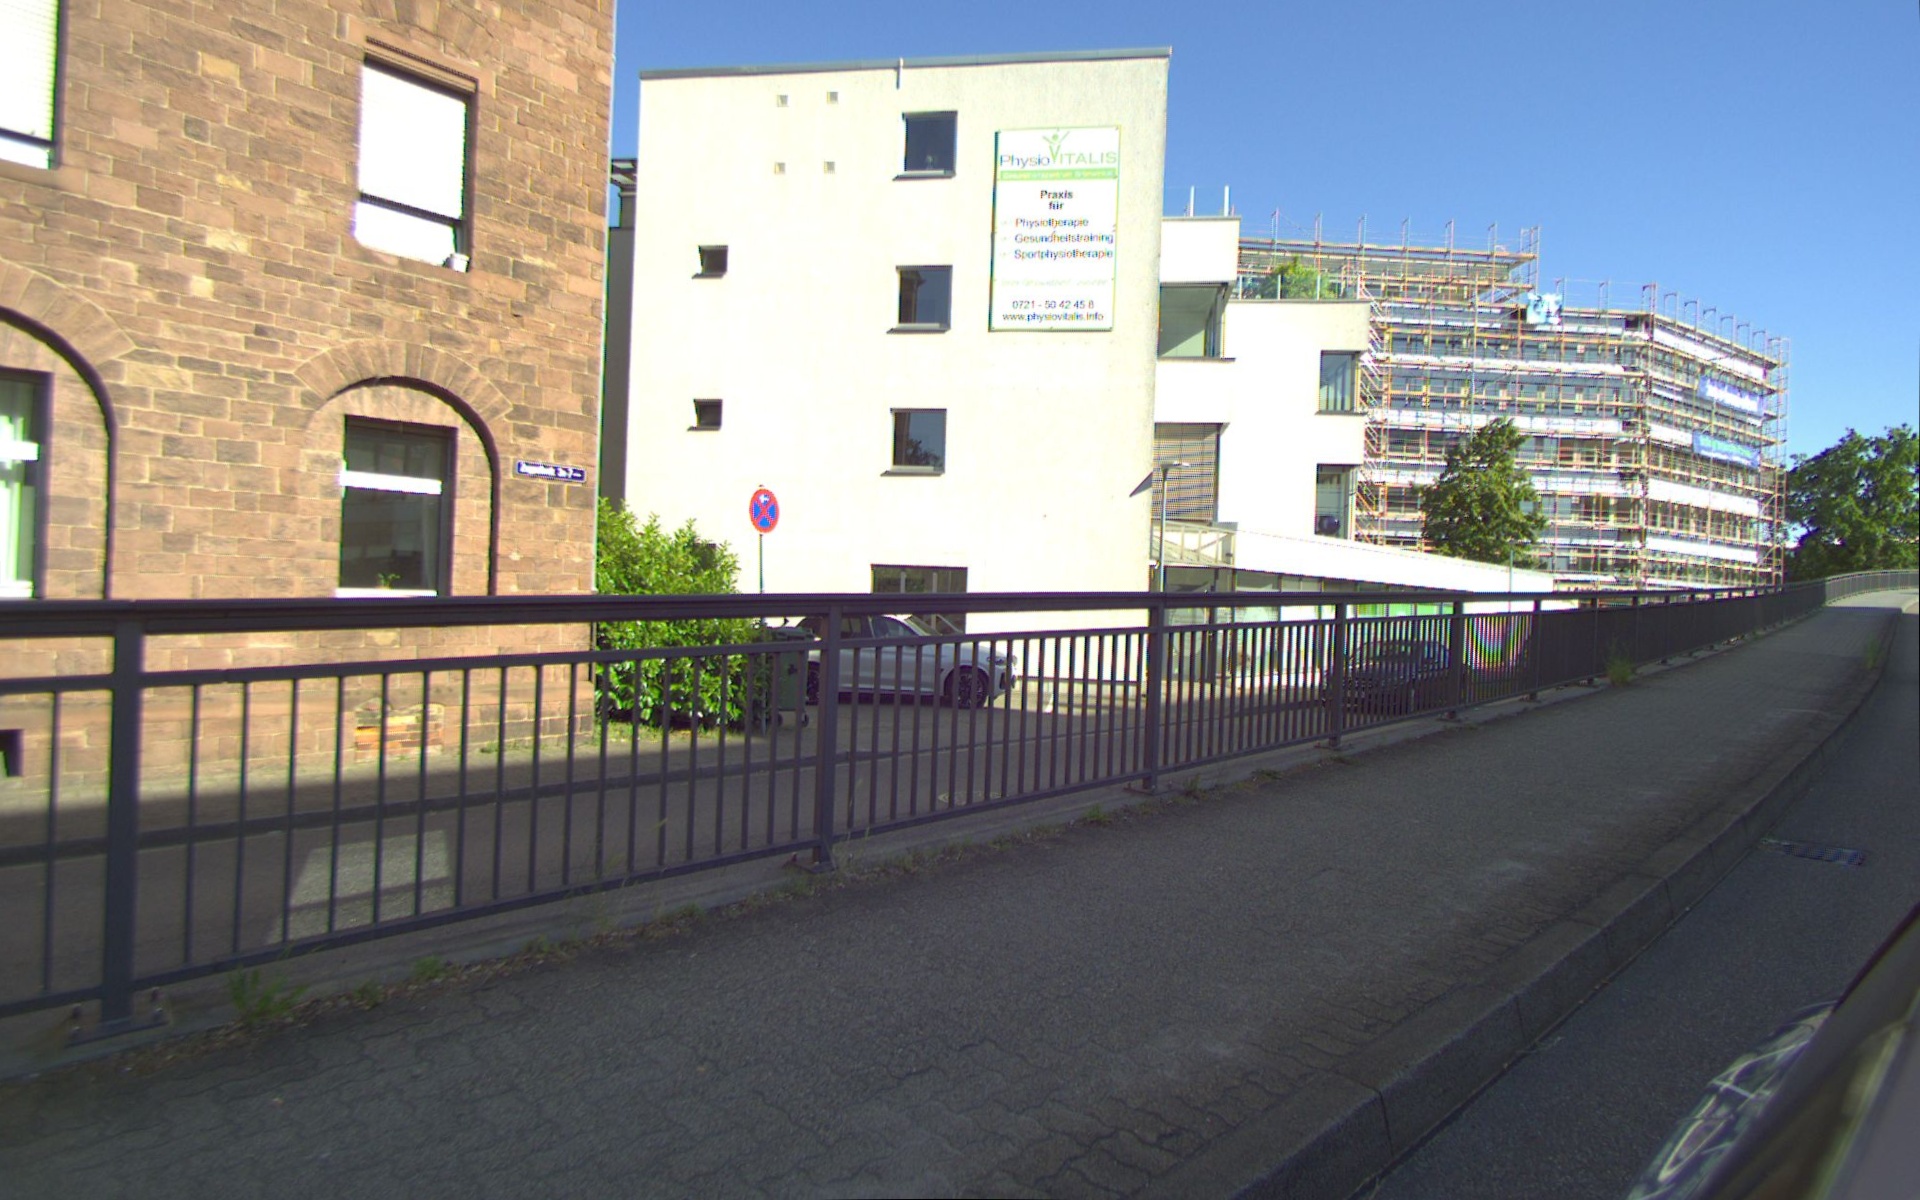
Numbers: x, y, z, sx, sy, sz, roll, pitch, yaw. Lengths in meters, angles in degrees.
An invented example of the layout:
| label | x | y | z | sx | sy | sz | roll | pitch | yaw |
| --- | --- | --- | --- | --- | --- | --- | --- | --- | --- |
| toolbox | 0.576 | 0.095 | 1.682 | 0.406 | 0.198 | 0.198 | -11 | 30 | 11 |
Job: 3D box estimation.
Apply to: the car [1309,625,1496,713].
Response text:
| label | x | y | z | sx | sy | sz | roll | pitch | yaw |
| --- | --- | --- | --- | --- | --- | --- | --- | --- | --- |
| car | 9.322 | 1.353 | 21.142 | 4.602 | 1.448 | 1.847 | -1 | 1 | -42 |

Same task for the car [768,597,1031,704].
| label | x | y | z | sx | sy | sz | roll | pitch | yaw |
| --- | --- | --- | --- | --- | --- | --- | --- | --- | --- |
| car | -1.022 | 0.854 | 18.481 | 4.569 | 1.789 | 1.825 | 0 | 1 | 7 |

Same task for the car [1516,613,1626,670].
| label | x | y | z | sx | sy | sz | roll | pitch | yaw |
| --- | --- | --- | --- | --- | --- | --- | --- | --- | --- |
| car | 18.818 | 1.240 | 31.110 | 3.932 | 1.554 | 1.847 | 1 | 1 | -43 |

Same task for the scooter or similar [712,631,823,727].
| label | x | y | z | sx | sy | sz | roll | pitch | yaw |
| --- | --- | --- | --- | --- | --- | --- | --- | --- | --- |
| scooter or similar | -2.665 | 1.052 | 13.944 | 1.456 | 1.235 | 0.774 | -1 | -2 | 41 |
